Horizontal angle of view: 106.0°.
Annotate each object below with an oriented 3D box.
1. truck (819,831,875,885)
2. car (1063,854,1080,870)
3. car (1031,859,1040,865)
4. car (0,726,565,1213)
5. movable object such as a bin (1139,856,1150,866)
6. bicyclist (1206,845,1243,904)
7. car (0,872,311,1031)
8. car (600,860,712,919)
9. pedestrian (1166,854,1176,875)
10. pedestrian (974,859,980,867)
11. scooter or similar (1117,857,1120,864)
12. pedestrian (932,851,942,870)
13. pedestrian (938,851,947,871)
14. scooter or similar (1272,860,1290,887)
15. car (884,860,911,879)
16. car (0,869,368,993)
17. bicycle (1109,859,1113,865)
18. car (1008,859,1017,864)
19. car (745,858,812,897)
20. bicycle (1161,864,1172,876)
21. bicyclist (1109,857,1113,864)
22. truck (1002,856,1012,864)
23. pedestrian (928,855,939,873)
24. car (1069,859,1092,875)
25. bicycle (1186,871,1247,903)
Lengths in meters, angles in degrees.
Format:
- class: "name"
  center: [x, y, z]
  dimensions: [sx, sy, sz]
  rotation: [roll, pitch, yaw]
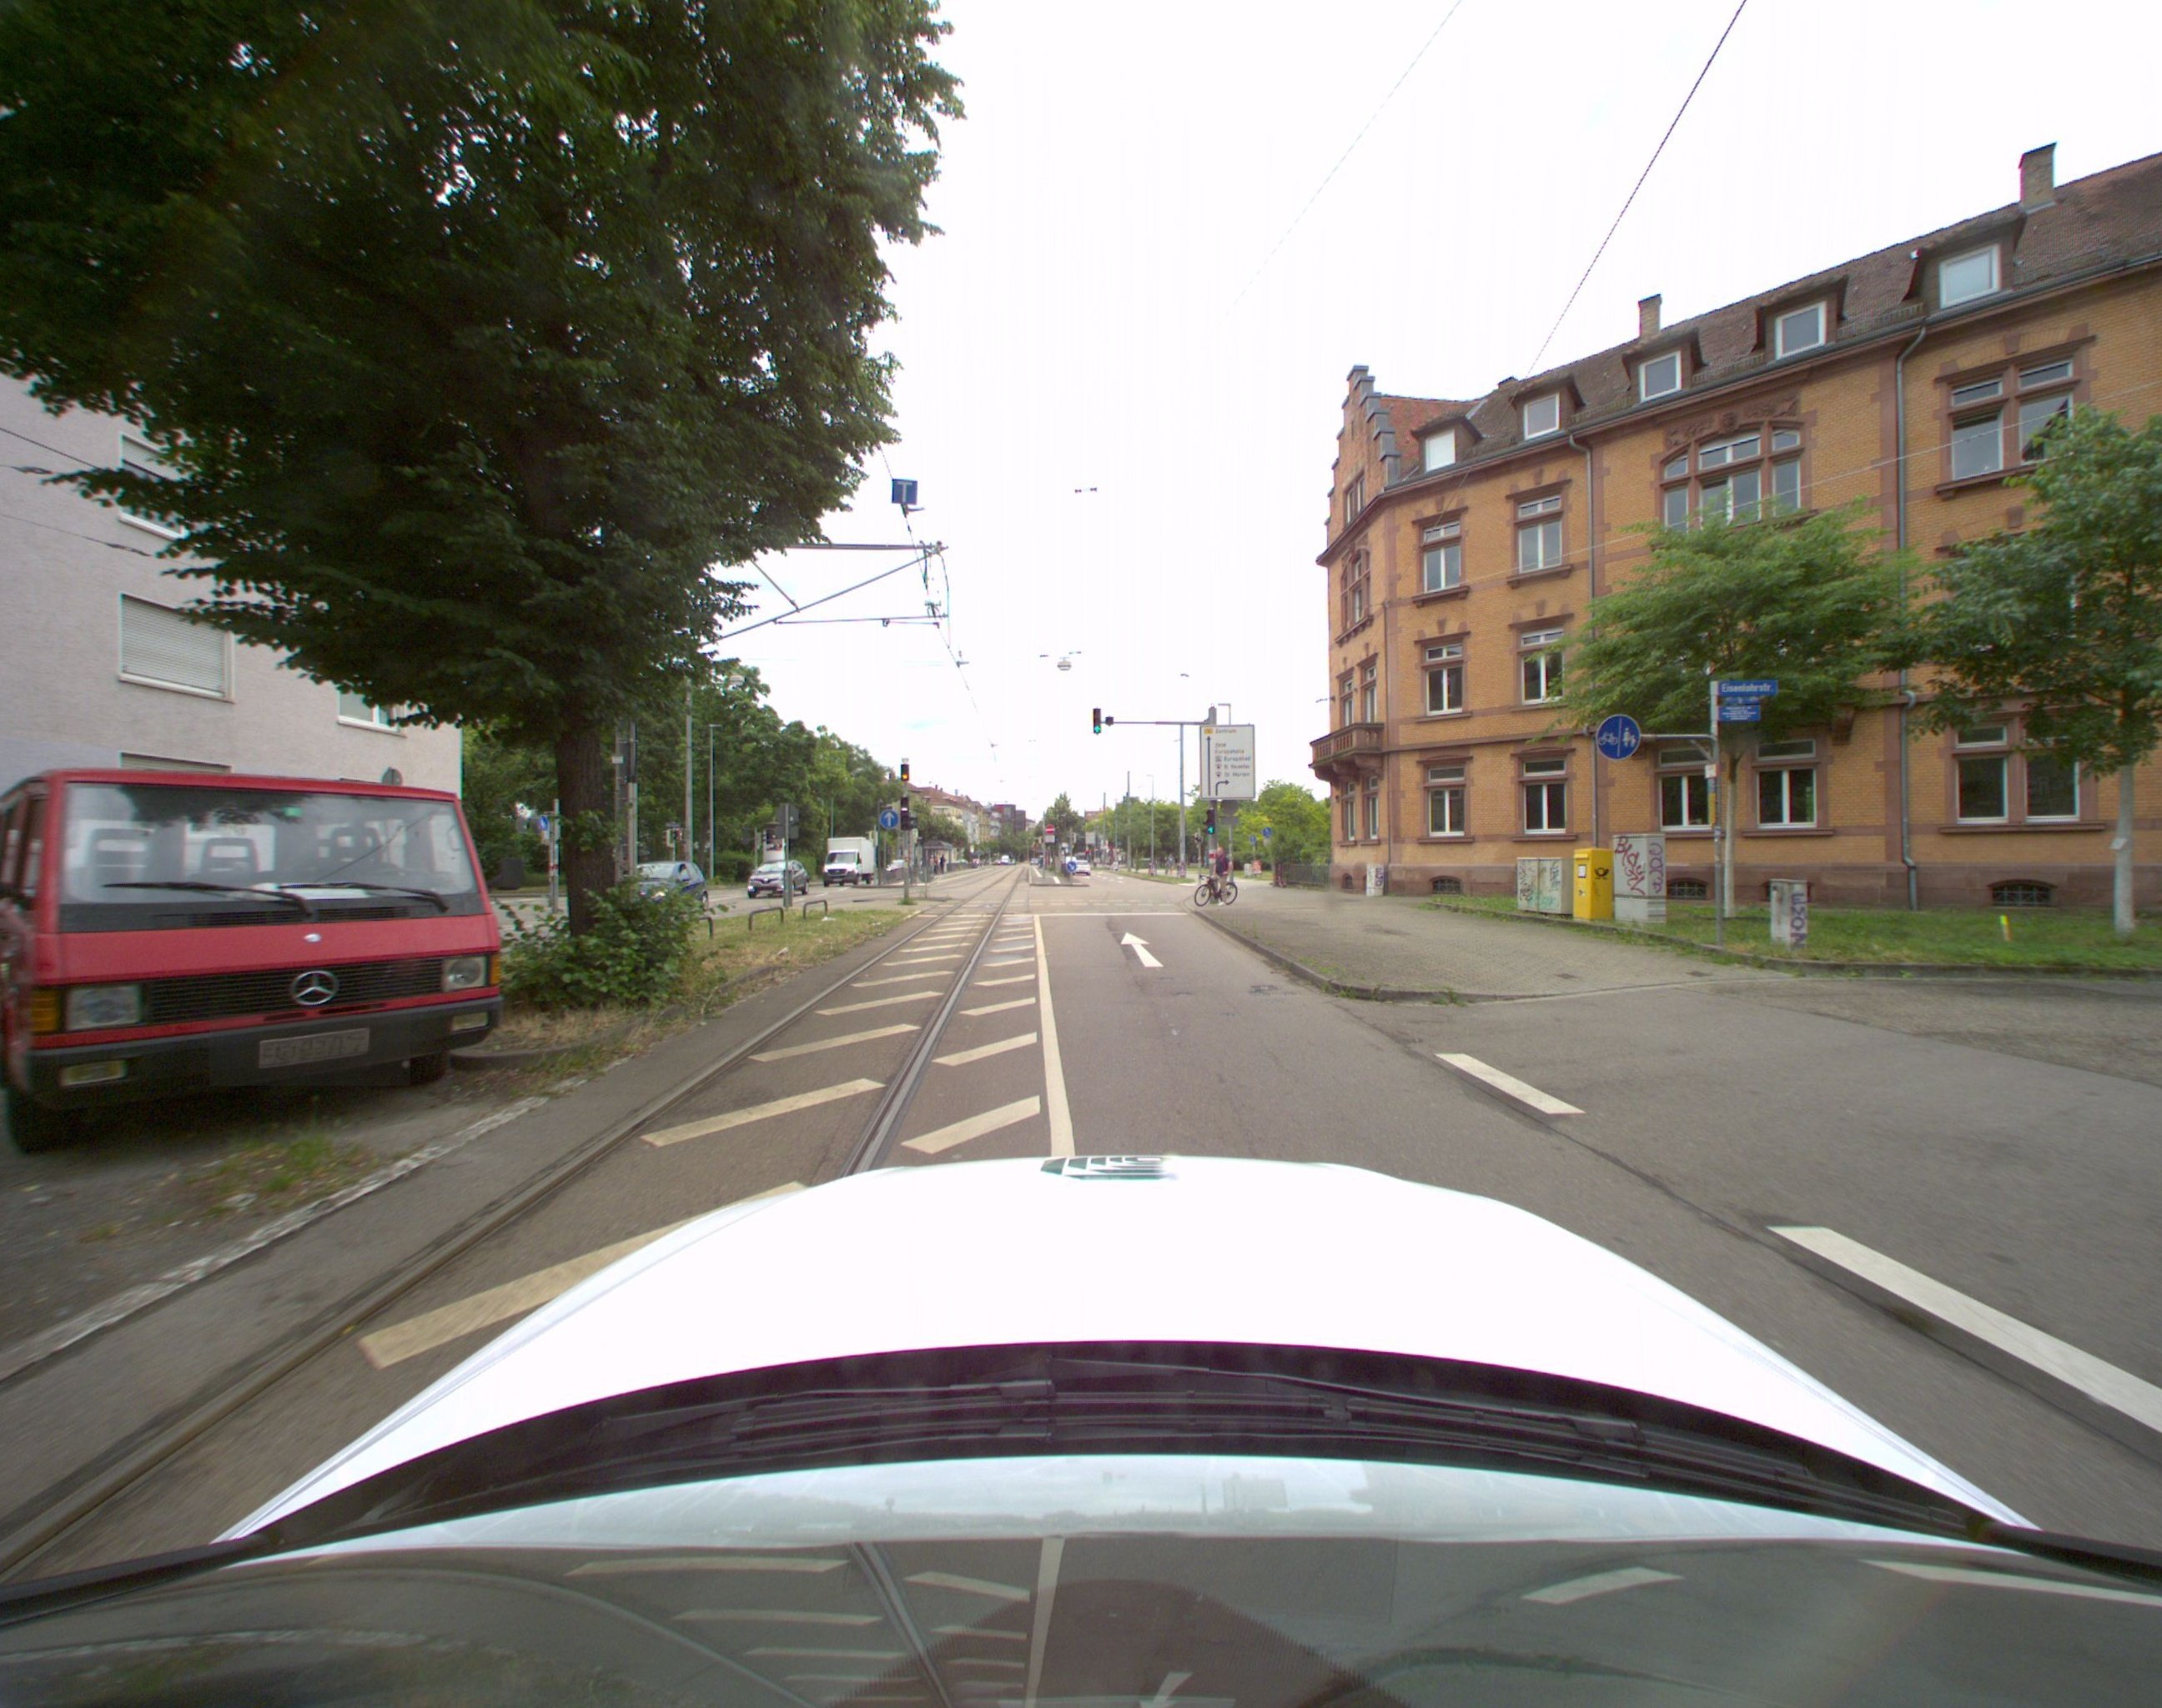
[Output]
- class: "truck"
  center: [-14.620, 0.279, 51.265]
  dimensions: [2.182, 3.157, 7.314]
  rotation: [0, -1, -7]
- class: "car"
  center: [-1.229, 0.996, 103.381]
  dimensions: [1.779, 1.962, 4.375]
  rotation: [0, 0, -4]
- class: "car"
  center: [-10.685, 1.873, 190.943]
  dimensions: [1.764, 1.493, 3.886]
  rotation: [-1, -1, 0]
- class: "car"
  center: [-5.633, 0.490, 5.452]
  dimensions: [4.706, 1.974, 1.972]
  rotation: [-1, 0, 34]
- class: "movable object such as a bin"
  center: [8.677, 0.989, 111.175]
  dimensions: [1.279, 1.390, 1.158]
  rotation: [0, -1, -3]
- class: "bicyclist"
  center: [4.412, 0.622, 25.090]
  dimensions: [0.685, 1.795, 0.881]
  rotation: [0, -1, -35]
- class: "car"
  center: [-10.542, 0.910, 8.419]
  dimensions: [1.641, 1.382, 3.877]
  rotation: [0, -1, -4]
- class: "car"
  center: [-12.074, 0.948, 23.385]
  dimensions: [1.642, 1.534, 3.622]
  rotation: [0, -1, -6]
- class: "pedestrian"
  center: [7.994, 0.934, 72.158]
  dimensions: [0.738, 1.869, 0.681]
  rotation: [-1, -1, -5]
- class: "pedestrian"
  center: [-16.291, 1.430, 127.338]
  dimensions: [0.864, 1.267, 0.692]
  rotation: [-1, 0, -6]
- class: "scooter or similar"
  center: [6.278, 1.079, 137.255]
  dimensions: [0.374, 1.141, 1.202]
  rotation: [-1, 0, 7]
- class: "pedestrian"
  center: [-13.124, 0.580, 74.214]
  dimensions: [0.767, 1.660, 1.022]
  rotation: [-1, 0, -7]
- class: "pedestrian"
  center: [-12.011, 0.574, 70.514]
  dimensions: [0.700, 1.715, 0.696]
  rotation: [-1, -1, -12]
- class: "scooter or similar"
  center: [8.832, 0.842, 35.947]
  dimensions: [0.375, 1.141, 1.197]
  rotation: [-1, 0, -6]
- class: "car"
  center: [-16.378, 1.387, 73.014]
  dimensions: [1.767, 1.639, 4.528]
  rotation: [0, -1, -5]
- class: "car"
  center: [-13.498, 0.987, 12.280]
  dimensions: [1.632, 1.443, 4.754]
  rotation: [0, 0, -5]
- class: "bicycle"
  center: [5.560, 1.491, 150.759]
  dimensions: [0.676, 1.155, 1.899]
  rotation: [-1, 0, 2]
- class: "car"
  center: [-18.575, 2.025, 220.740]
  dimensions: [1.763, 1.493, 3.889]
  rotation: [-1, -1, 3]
- class: "car"
  center: [-12.731, 0.963, 34.508]
  dimensions: [1.641, 1.534, 4.124]
  rotation: [0, -1, -5]
- class: "bicycle"
  center: [7.601, 1.405, 72.187]
  dimensions: [0.653, 1.003, 1.777]
  rotation: [-1, 0, -3]
- class: "bicyclist"
  center: [5.543, 1.243, 150.769]
  dimensions: [0.676, 1.379, 0.728]
  rotation: [-1, 0, 2]
- class: "truck"
  center: [-18.655, 1.479, 205.392]
  dimensions: [1.780, 2.032, 5.399]
  rotation: [-1, -1, 3]
- class: "pedestrian"
  center: [-12.881, 0.881, 71.214]
  dimensions: [0.671, 1.624, 0.638]
  rotation: [-1, -1, 37]
- class: "car"
  center: [-0.085, 1.253, 79.372]
  dimensions: [1.781, 1.472, 4.000]
  rotation: [0, 0, -7]
- class: "bicycle"
  center: [4.236, 0.998, 25.340]
  dimensions: [1.876, 0.924, 0.788]
  rotation: [0, 0, -36]
